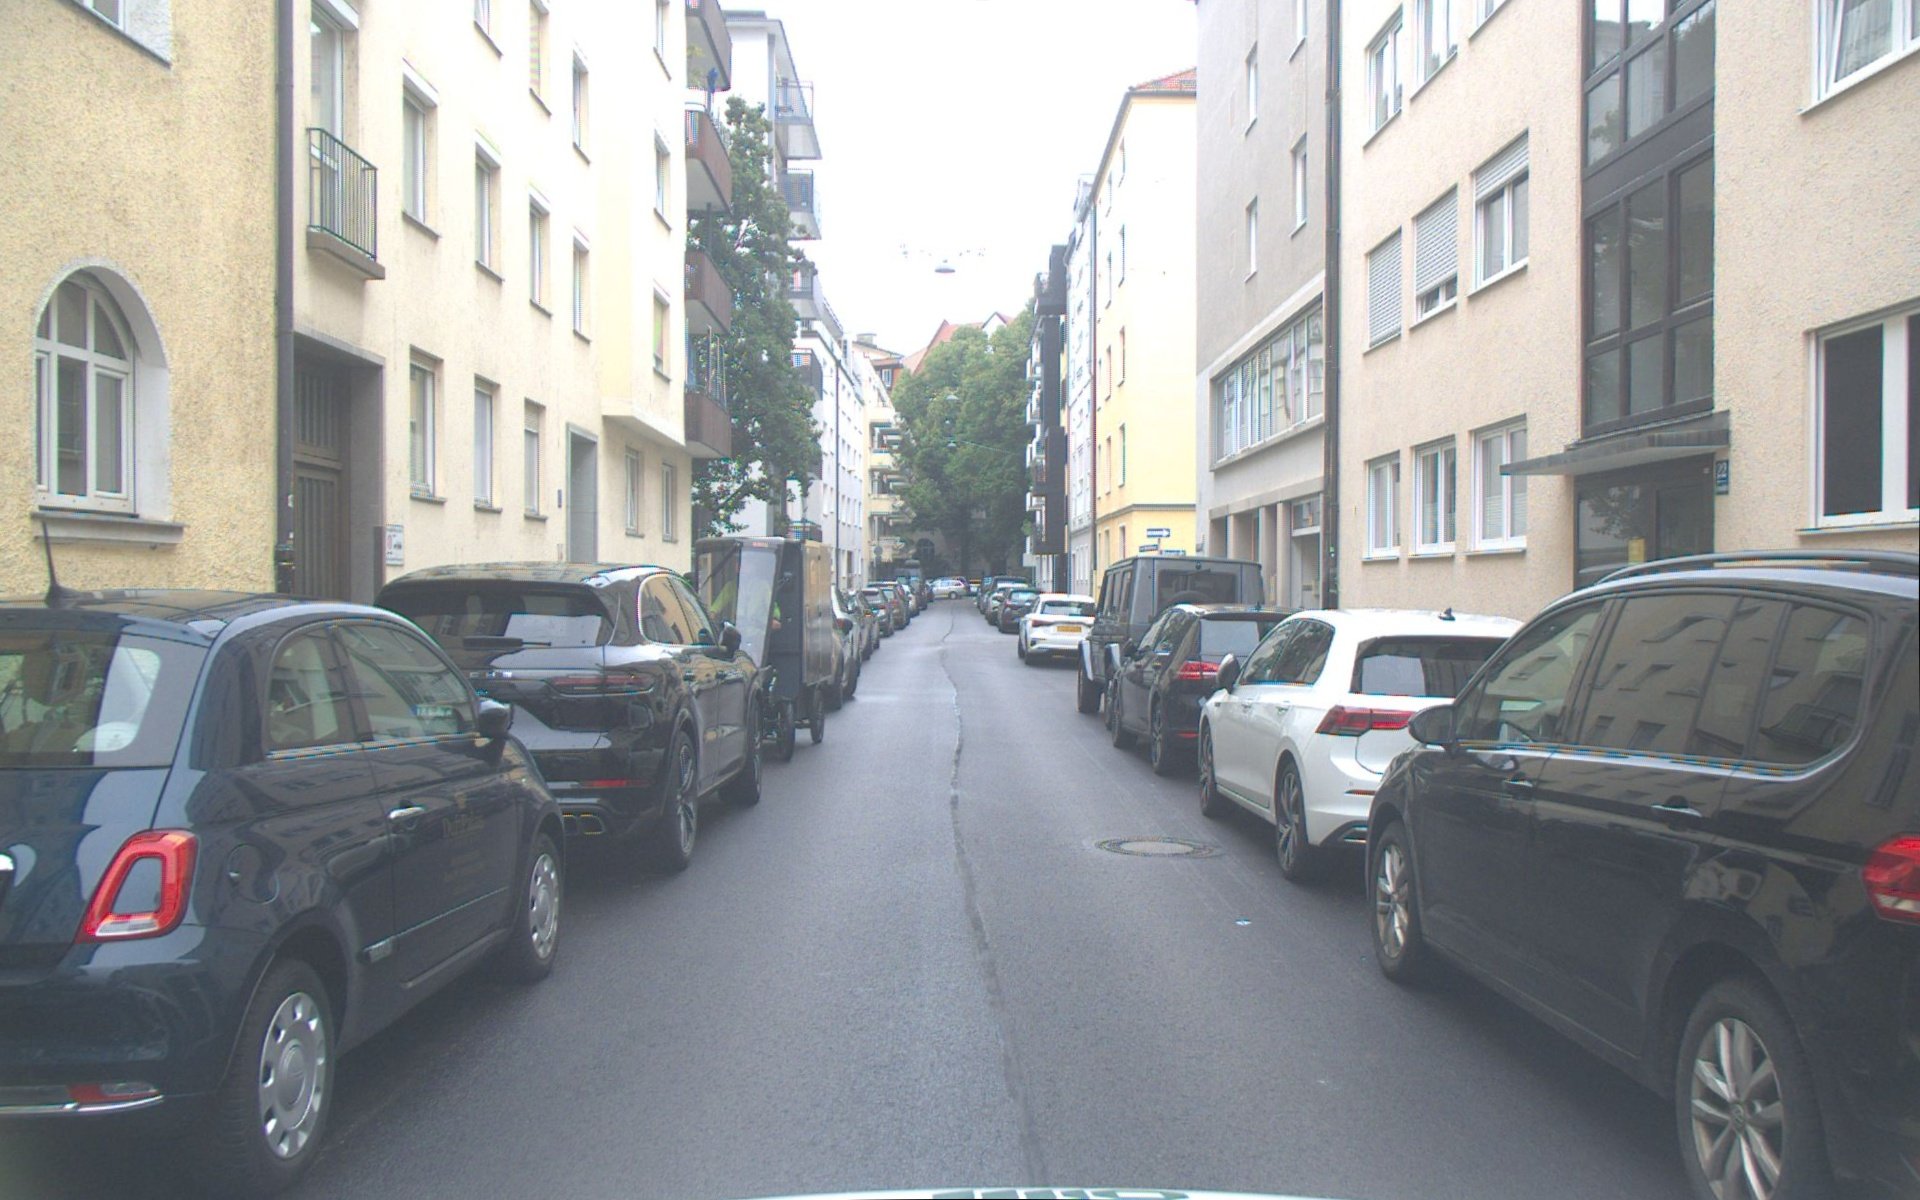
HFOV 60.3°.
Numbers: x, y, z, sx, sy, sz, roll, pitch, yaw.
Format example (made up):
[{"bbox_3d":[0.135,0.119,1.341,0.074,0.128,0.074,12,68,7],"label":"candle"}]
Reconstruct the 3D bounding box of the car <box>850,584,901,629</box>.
[{"bbox_3d":[-2.922,0.206,57.937,1.659,1.467,3.976,-1,1,-2],"label":"car"}]

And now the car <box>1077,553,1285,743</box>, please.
[{"bbox_3d":[2.565,0.491,20.196,1.716,2.009,4.341,2,1,-3],"label":"car"}]

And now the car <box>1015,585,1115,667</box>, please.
[{"bbox_3d":[2.184,0.507,35.263,1.782,1.432,3.952,1,3,-1],"label":"car"}]

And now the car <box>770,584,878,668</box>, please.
[{"bbox_3d":[-2.679,0.471,33.380,1.729,1.509,4.424,-1,1,1],"label":"car"}]

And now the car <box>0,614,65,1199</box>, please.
[{"bbox_3d":[-2.139,0.783,0.727,1.531,1.486,3.762,-1,0,-2],"label":"car"}]

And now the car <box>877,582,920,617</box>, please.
[{"bbox_3d":[-2.856,-0.046,77.151,1.740,1.512,4.519,-3,1,0],"label":"car"}]

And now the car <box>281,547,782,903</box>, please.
[{"bbox_3d":[-2.305,0.595,10.182,1.840,1.689,4.415,-1,0,1],"label":"car"}]

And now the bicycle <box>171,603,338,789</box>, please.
[{"bbox_3d":[-5.309,0.684,12.537,0.582,1.301,1.551,2,0,-2],"label":"bicycle"}]

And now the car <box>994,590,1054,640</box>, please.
[{"bbox_3d":[2.096,0.475,55.280,1.715,1.495,4.342,2,1,-1],"label":"car"}]

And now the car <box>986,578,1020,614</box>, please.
[{"bbox_3d":[2.563,-0.284,99.721,1.792,2.034,4.415,3,1,-1],"label":"car"}]

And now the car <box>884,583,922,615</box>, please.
[{"bbox_3d":[-2.800,-0.076,82.175,1.741,1.478,4.046,-3,1,-1],"label":"car"}]

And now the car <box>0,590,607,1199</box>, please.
[{"bbox_3d":[-2.306,0.725,5.303,1.530,1.486,3.476,-1,0,1],"label":"car"}]

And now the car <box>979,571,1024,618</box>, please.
[{"bbox_3d":[1.814,-0.264,73.191,1.792,1.943,4.415,2,1,0],"label":"car"}]

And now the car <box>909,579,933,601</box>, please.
[{"bbox_3d":[-2.701,-0.688,115.470,1.609,1.407,3.482,-3,1,-1],"label":"car"}]

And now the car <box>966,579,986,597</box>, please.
[{"bbox_3d":[1.398,-1.043,142.714,1.609,1.407,3.745,-3,1,-1],"label":"car"}]

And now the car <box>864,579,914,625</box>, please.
[{"bbox_3d":[-2.714,0.055,63.932,1.740,1.657,4.414,-1,1,-1],"label":"car"}]

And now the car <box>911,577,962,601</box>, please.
[{"bbox_3d":[-1.806,-0.842,127.337,3.807,1.612,1.647,-3,1,-2],"label":"car"}]

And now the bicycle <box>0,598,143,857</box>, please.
[{"bbox_3d":[-5.144,0.649,9.083,0.524,1.301,1.551,2,0,-2],"label":"bicycle"}]

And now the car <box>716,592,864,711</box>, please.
[{"bbox_3d":[-2.233,0.631,22.551,1.618,1.461,3.802,-1,0,0],"label":"car"}]

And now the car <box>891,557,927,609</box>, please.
[{"bbox_3d":[-2.970,-0.999,96.822,1.897,2.850,4.532,-3,1,-1],"label":"car"}]

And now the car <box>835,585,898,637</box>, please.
[{"bbox_3d":[-2.793,0.307,50.110,1.658,1.467,3.942,-1,1,0],"label":"car"}]

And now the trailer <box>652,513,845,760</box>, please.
[{"bbox_3d":[-1.962,0.317,16.082,1.327,2.153,3.319,0,0,2],"label":"trailer"}]

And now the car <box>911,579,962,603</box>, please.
[{"bbox_3d":[-1.787,-0.708,125.421,3.807,1.612,1.647,-3,1,-2],"label":"car"}]

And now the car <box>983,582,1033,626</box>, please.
[{"bbox_3d":[1.862,0.113,65.441,1.648,1.595,4.414,2,1,-2],"label":"car"}]

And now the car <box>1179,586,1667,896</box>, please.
[{"bbox_3d":[2.585,0.704,10.317,1.677,1.512,4.242,1,0,-3],"label":"car"}]

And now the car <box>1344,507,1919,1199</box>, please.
[{"bbox_3d":[2.630,0.651,5.165,1.677,1.636,4.242,1,0,-3],"label":"car"}]

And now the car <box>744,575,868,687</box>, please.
[{"bbox_3d":[-2.510,0.474,27.821,1.730,1.704,4.366,-1,0,-1],"label":"car"}]

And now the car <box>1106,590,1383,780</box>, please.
[{"bbox_3d":[2.496,0.694,15.533,1.677,1.512,4.242,1,0,-3],"label":"car"}]
